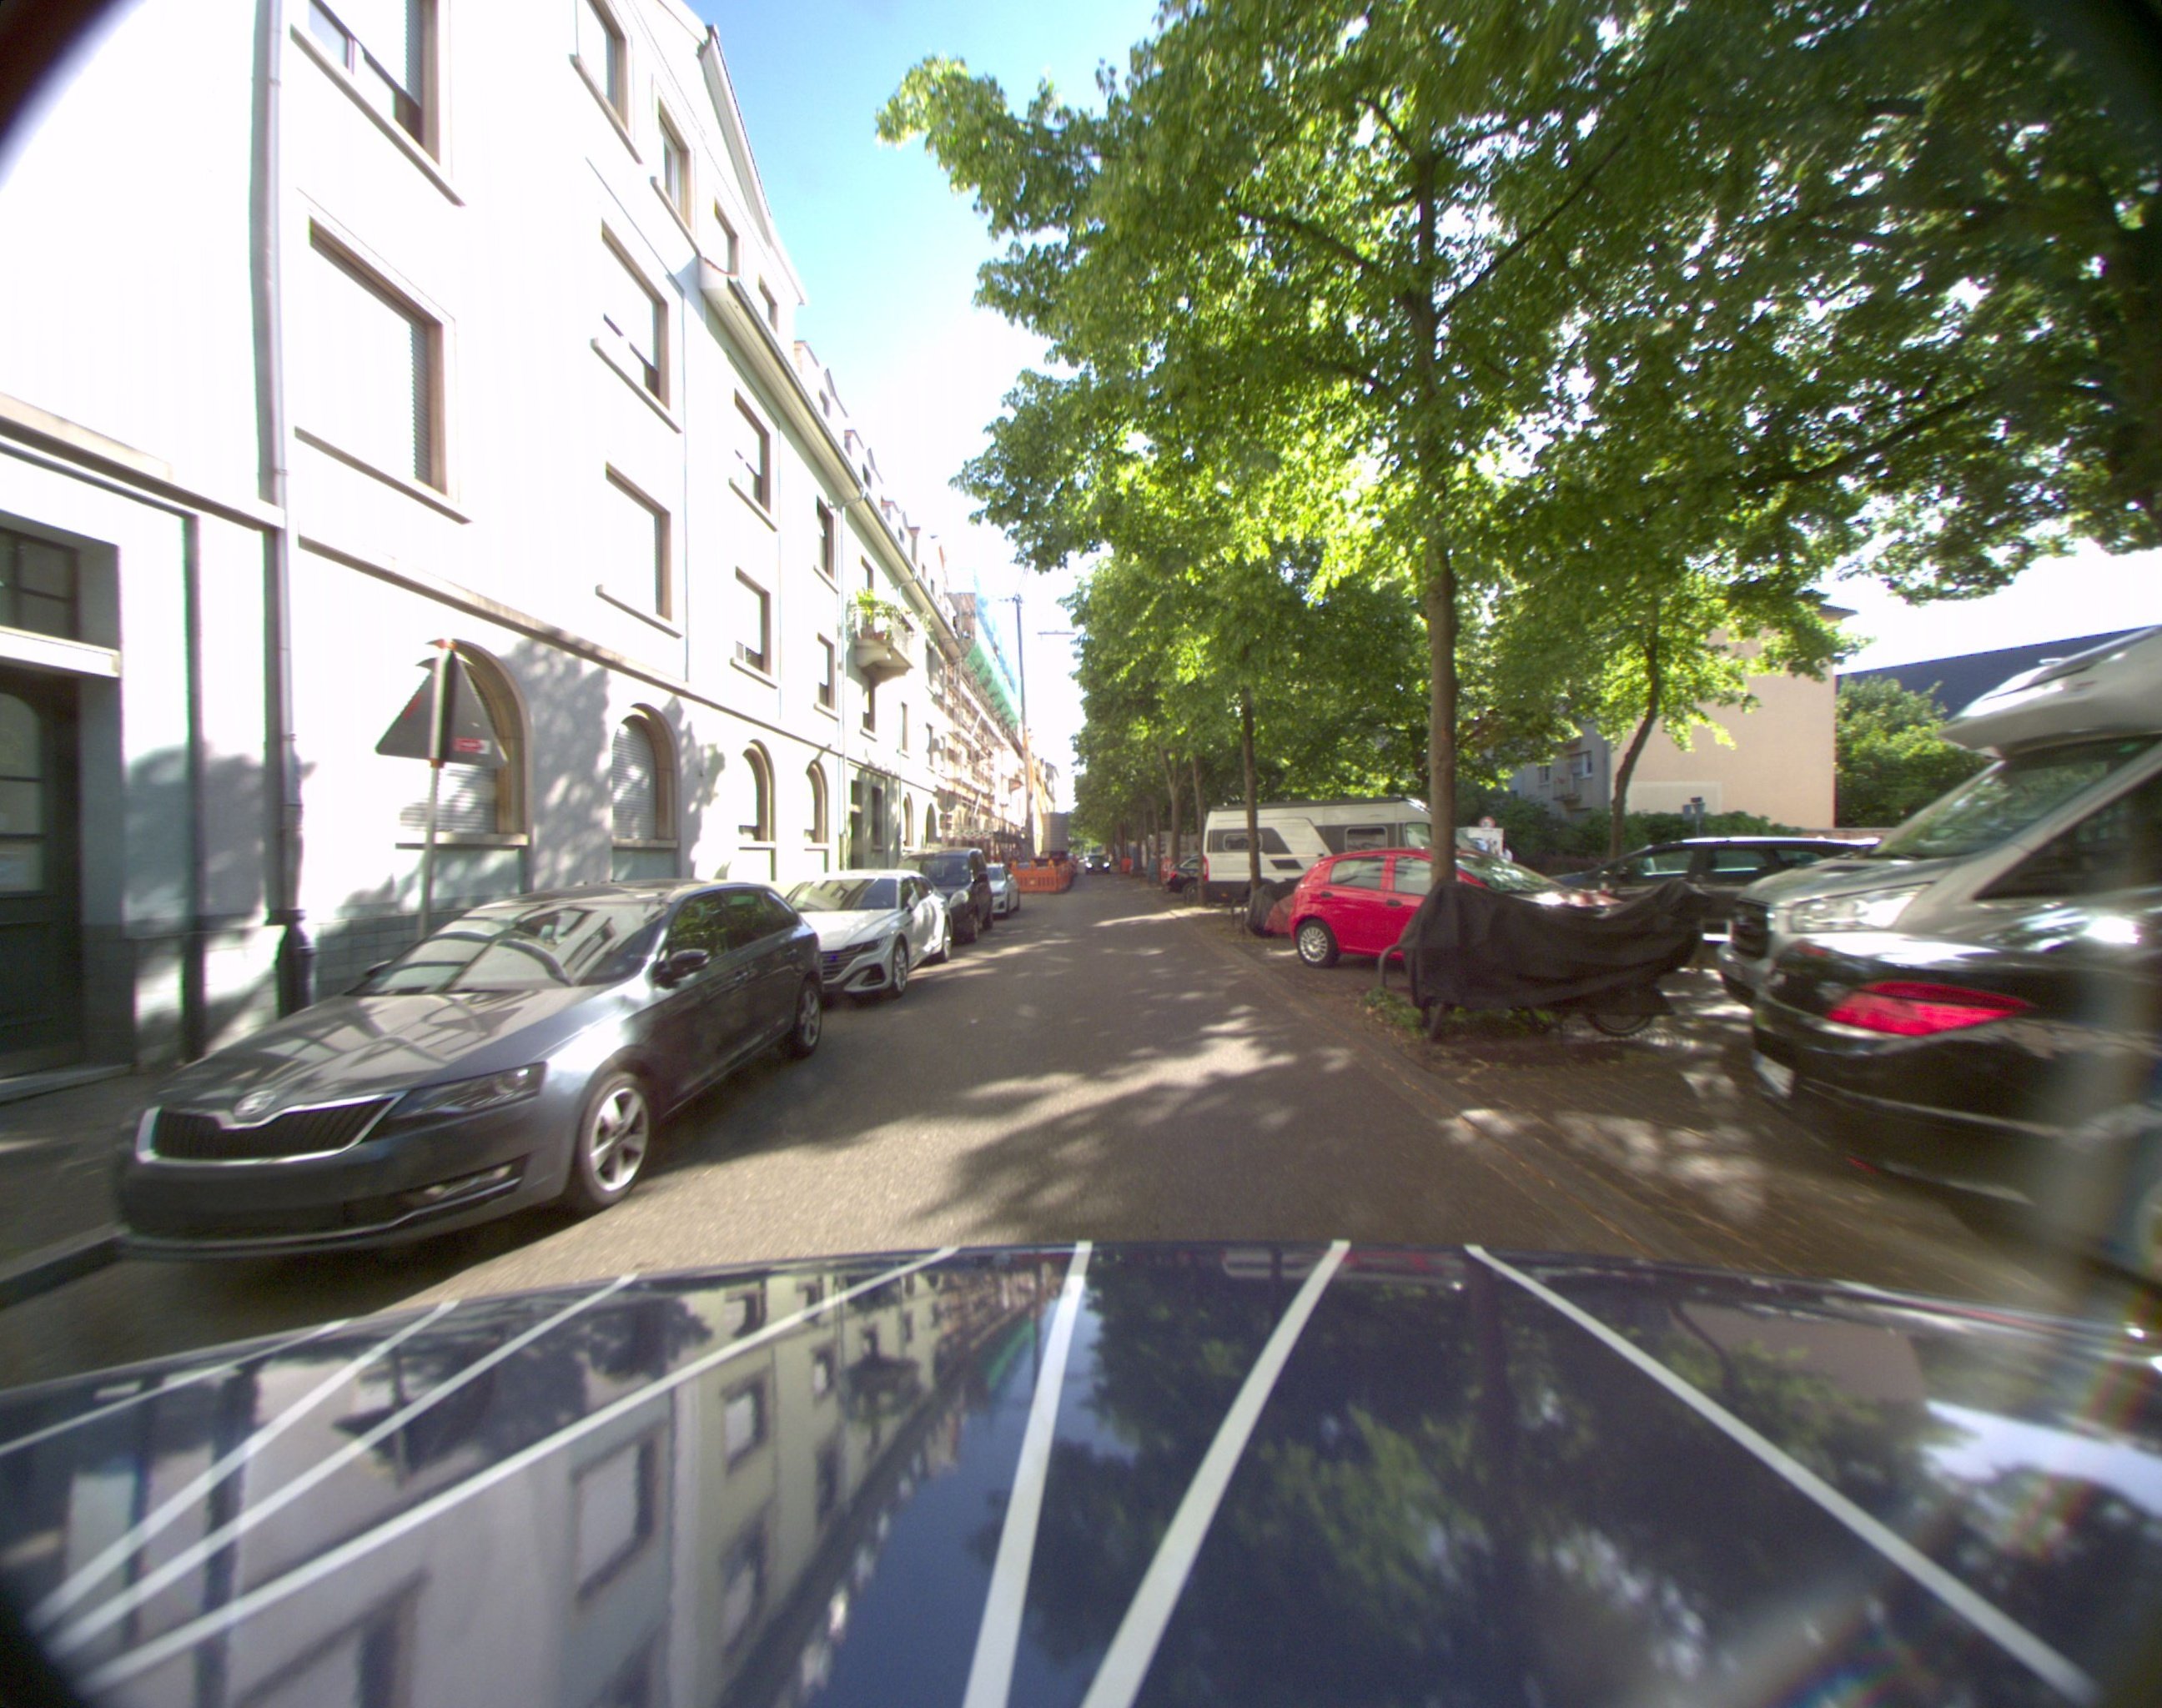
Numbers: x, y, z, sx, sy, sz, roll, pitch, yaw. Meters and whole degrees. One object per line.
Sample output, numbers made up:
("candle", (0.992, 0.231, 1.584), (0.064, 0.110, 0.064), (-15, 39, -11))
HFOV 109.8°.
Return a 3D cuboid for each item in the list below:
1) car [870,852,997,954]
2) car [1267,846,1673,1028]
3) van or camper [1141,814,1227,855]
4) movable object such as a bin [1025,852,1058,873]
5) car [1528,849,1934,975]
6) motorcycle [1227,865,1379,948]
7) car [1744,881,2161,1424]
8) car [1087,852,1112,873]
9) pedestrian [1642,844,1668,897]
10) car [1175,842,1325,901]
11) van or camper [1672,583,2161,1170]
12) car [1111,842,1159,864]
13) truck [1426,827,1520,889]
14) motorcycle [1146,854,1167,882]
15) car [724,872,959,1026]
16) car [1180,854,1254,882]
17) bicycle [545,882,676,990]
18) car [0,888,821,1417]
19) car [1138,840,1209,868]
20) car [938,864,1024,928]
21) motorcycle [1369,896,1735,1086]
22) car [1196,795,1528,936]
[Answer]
("car", (-2.798, 0.853, 15.251), (1.776, 1.783, 3.989), (0, 0, 0))
("car", (4.169, 0.728, 8.788), (1.666, 1.608, 3.870), (0, 0, -31))
("van or camper", (7.863, -1.427, 57.946), (6.017, 2.984, 2.404), (0, 0, 29))
("movable object such as a bin", (-3.023, 0.634, 57.624), (1.872, 1.518, 1.631), (0, 0, 35))
("car", (8.933, 0.680, 10.915), (4.125, 1.477, 1.837), (0, 0, 37))
("motorcycle", (3.817, 0.872, 13.155), (2.326, 1.327, 0.968), (0, 0, -8))
("car", (4.669, 0.850, 2.040), (4.146, 1.417, 1.718), (0, 1, 33))
("car", (1.421, 0.589, 57.323), (1.792, 1.510, 4.001), (0, 0, 3))
("pedestrian", (20.002, 0.578, 26.487), (0.582, 1.812, 0.671), (0, 1, 22))
("car", (5.170, 0.552, 23.384), (4.090, 1.516, 1.705), (-5, -2, 31))
("van or camper", (7.201, 0.052, 3.868), (6.290, 2.808, 2.412), (-2, 1, 30))
("car", (5.368, -0.112, 75.884), (4.386, 2.155, 1.774), (0, 0, 28))
("truck", (16.272, 0.151, 31.808), (1.926, 2.395, 4.264), (0, 0, 3))
("motorcycle", (3.915, 0.711, 39.268), (0.631, 1.317, 2.231), (-2, 1, 16))
("car", (-2.748, 0.998, 9.862), (1.611, 1.412, 4.568), (0, 0, 0))
("car", (8.021, 0.798, 44.986), (3.988, 1.510, 1.674), (0, 1, 34))
("bicycle", (-5.982, 0.986, 9.799), (0.395, 1.174, 1.983), (-1, 0, 1))
("car", (-2.949, 1.040, 4.404), (1.603, 1.484, 3.966), (0, 0, -1))
("car", (8.545, -0.006, 70.643), (6.185, 2.497, 2.143), (0, 0, 28))
("car", (-2.646, 1.077, 20.986), (1.709, 1.502, 4.284), (0, 0, 1))
("motorcycle", (3.379, 0.958, 5.689), (2.151, 1.222, 0.882), (-1, 1, 10))
("car", (5.900, 0.233, 16.388), (6.310, 2.544, 2.342), (-1, 1, 33))
